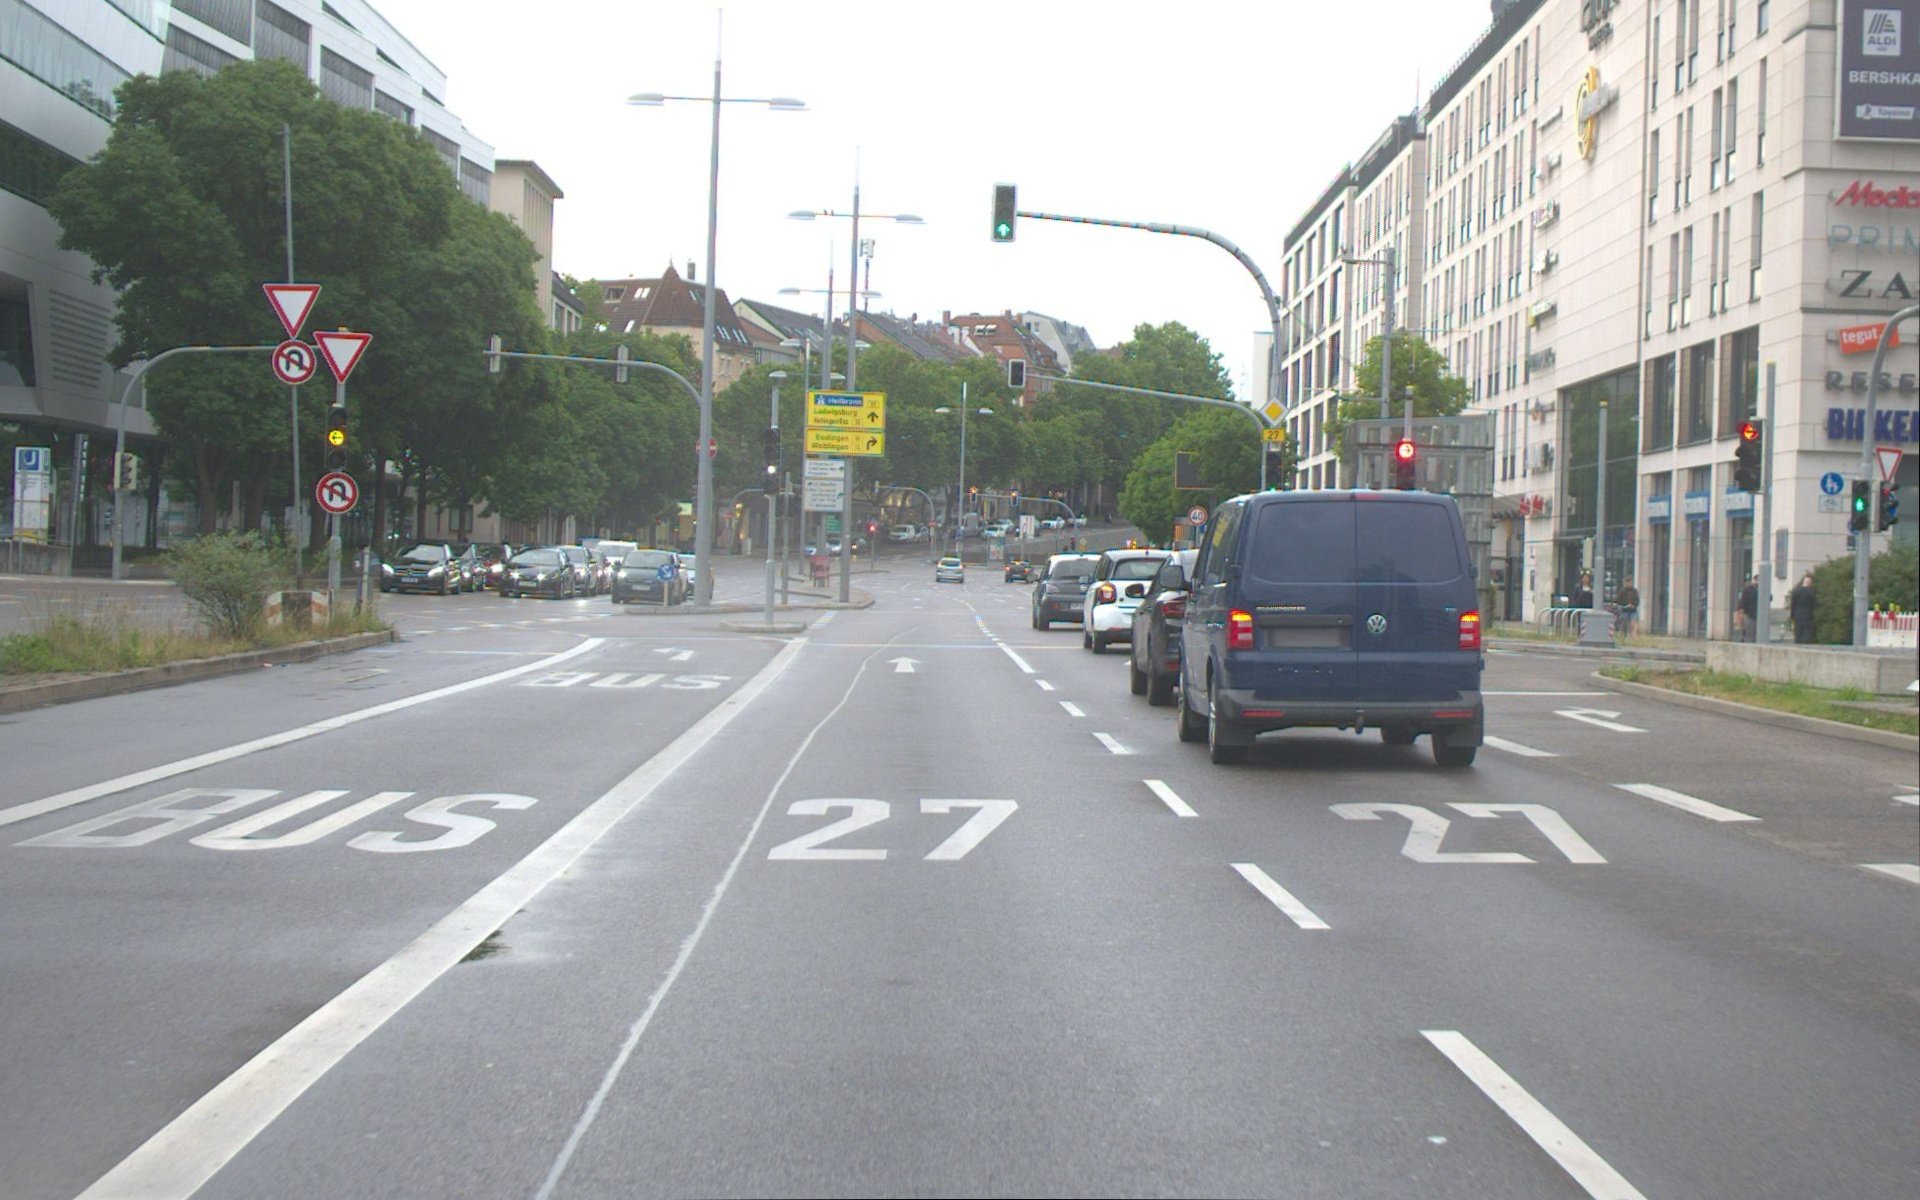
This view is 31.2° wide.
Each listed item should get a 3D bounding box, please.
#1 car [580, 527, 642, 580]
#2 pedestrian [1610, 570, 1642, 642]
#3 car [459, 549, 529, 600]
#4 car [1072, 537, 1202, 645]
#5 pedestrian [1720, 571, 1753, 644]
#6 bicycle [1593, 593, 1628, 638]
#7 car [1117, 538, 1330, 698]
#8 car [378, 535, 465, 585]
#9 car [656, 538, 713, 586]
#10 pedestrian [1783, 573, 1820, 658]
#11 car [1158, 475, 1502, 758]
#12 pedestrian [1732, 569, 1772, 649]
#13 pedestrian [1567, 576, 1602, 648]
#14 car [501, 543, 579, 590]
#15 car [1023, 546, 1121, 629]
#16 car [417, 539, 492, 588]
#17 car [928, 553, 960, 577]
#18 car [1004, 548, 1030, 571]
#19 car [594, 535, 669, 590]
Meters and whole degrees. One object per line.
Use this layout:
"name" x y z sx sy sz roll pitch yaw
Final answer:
"car" -12.002 -1.575 118.418 1.743 1.742 3.539 1 0 0
"pedestrian" 15.054 0.134 77.721 0.550 1.605 0.698 1 0 0
"car" -14.924 -0.801 110.262 1.743 1.553 3.539 1 0 0
"car" 2.628 -0.125 51.743 1.724 1.526 3.814 1 0 0
"pedestrian" 17.567 0.163 77.784 0.594 1.636 0.587 1 0 25
"bicycle" 14.711 0.349 77.756 0.449 1.012 1.742 1 0 0
"car" 2.618 0.133 35.076 1.791 1.501 4.339 1 1 0
"car" -15.030 -1.105 96.101 1.743 1.324 4.225 1 0 0
"car" -8.819 -1.204 110.256 1.538 1.472 3.696 1 0 0
"pedestrian" 17.677 0.314 72.211 0.439 1.774 0.595 1 0 -29
"car" 2.667 0.052 25.941 2.033 1.875 5.042 -1 1 0
"pedestrian" 16.506 0.187 71.659 0.621 1.666 0.824 1 0 0
"pedestrian" 14.121 0.272 77.765 0.612 1.605 0.819 1 0 0
"car" -11.895 -0.957 97.586 1.743 1.253 3.540 2 1 0
"car" 2.135 -0.224 66.552 1.740 1.526 3.814 1 0 0
"car" -15.385 -1.108 104.722 1.743 1.419 3.539 1 0 0
"car" -1.043 -2.283 223.017 1.739 1.526 3.815 1 1 -6
"car" 3.892 -2.780 235.518 1.740 1.526 3.814 1 0 0
"car" -9.184 -1.036 96.325 1.743 1.439 3.395 1 0 0
